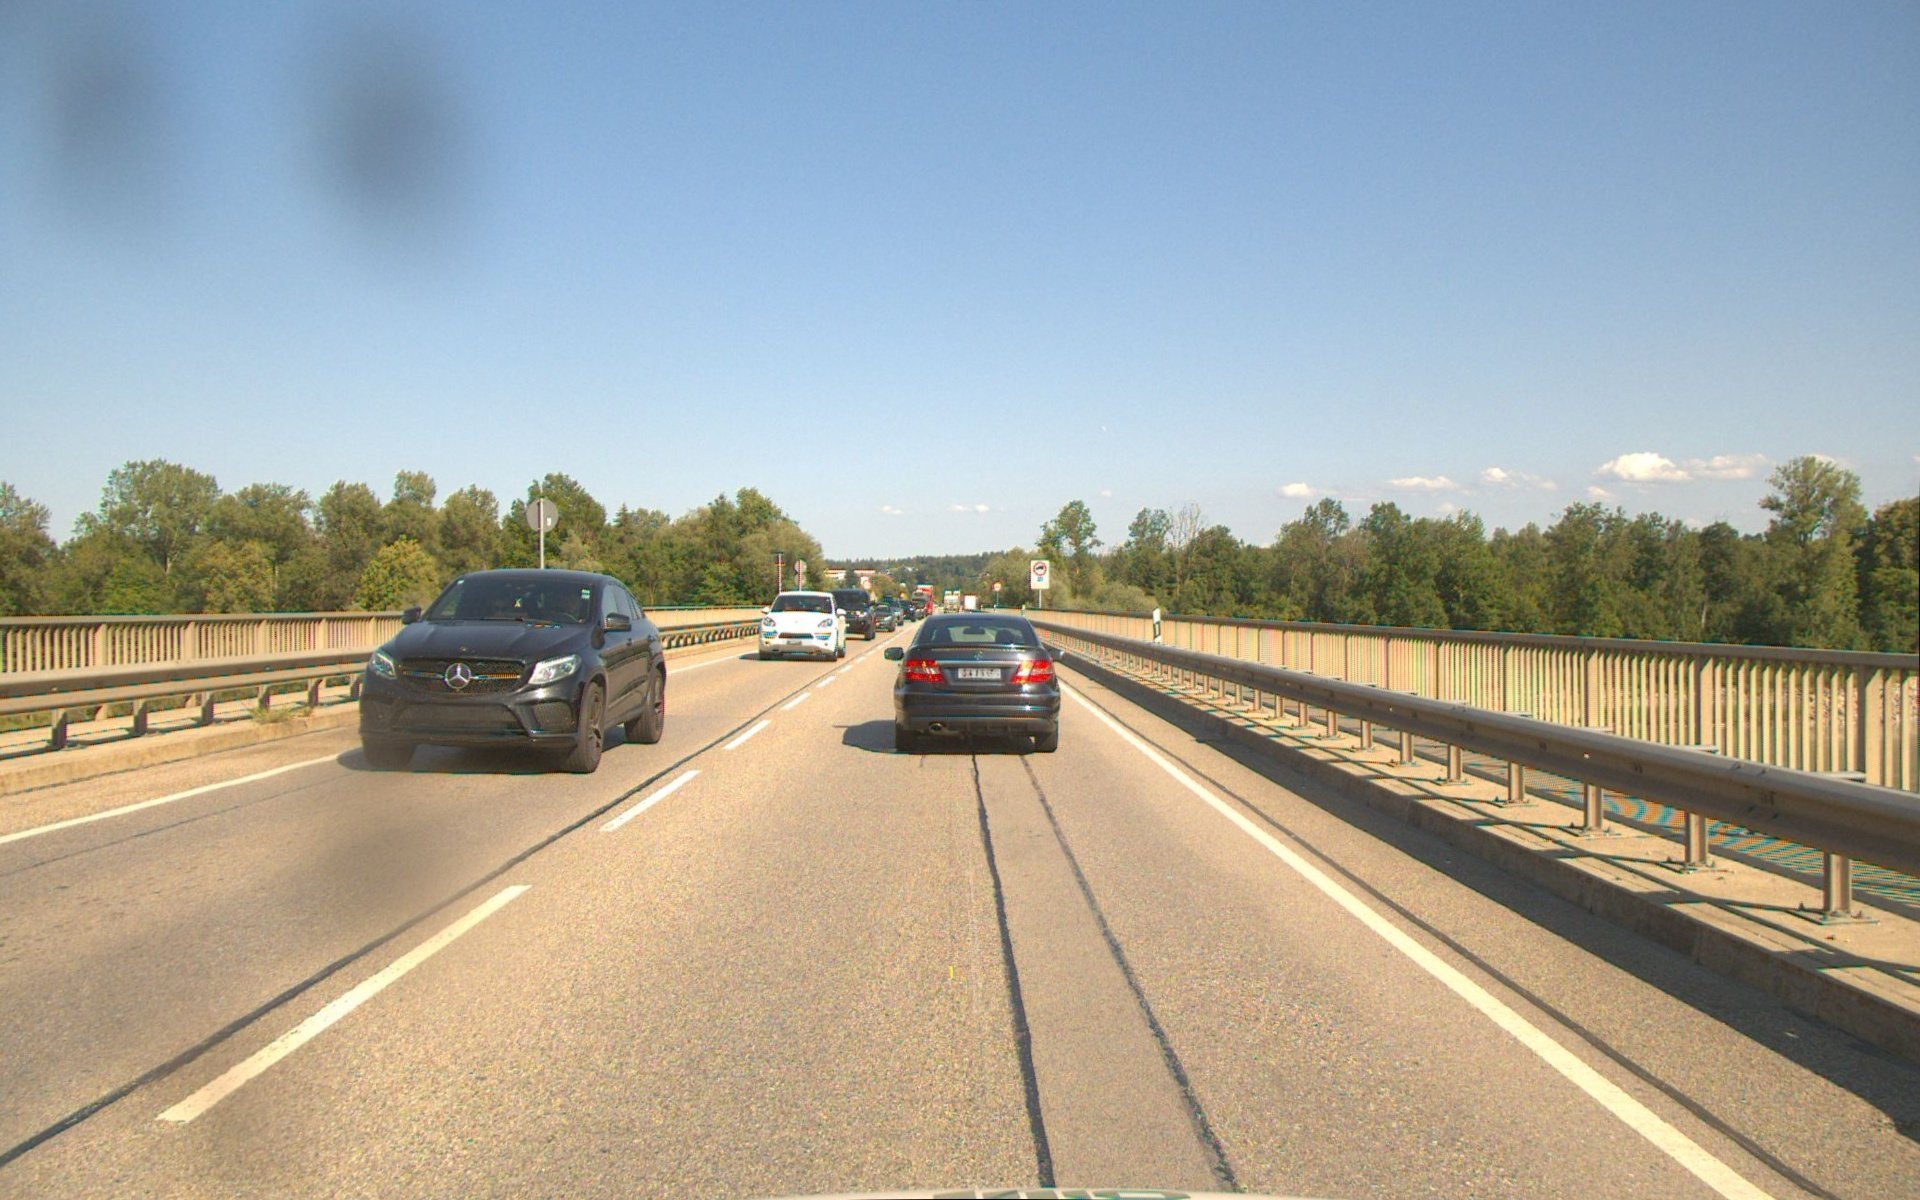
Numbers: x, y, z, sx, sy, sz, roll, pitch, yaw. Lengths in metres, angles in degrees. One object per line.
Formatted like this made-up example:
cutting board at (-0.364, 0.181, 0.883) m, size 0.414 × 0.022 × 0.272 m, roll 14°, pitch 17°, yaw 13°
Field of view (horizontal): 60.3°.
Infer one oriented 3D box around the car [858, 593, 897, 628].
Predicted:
car at (-4.092, 0.494, 81.708) m, size 1.731 × 1.471 × 4.453 m, roll 7°, pitch 0°, yaw -4°

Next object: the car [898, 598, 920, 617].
car at (-4.543, 0.643, 146.271) m, size 1.771 × 1.604 × 4.198 m, roll 3°, pitch 0°, yaw -4°

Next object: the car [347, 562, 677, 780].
car at (-3.972, 0.571, 15.503) m, size 1.909 × 1.723 × 4.476 m, roll 1°, pitch 0°, yaw -1°

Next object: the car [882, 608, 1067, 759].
car at (0.132, 0.811, 17.906) m, size 1.757 × 1.400 × 4.000 m, roll 1°, pitch 0°, yaw 0°

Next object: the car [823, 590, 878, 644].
car at (-4.242, 0.623, 64.274) m, size 1.997 × 1.906 × 5.066 m, roll 2°, pitch 0°, yaw -4°

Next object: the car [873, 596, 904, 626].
car at (-4.510, 0.692, 104.887) m, size 1.817 × 1.752 × 4.564 m, roll 4°, pitch 0°, yaw -2°

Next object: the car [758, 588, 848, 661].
car at (-3.891, 0.571, 41.584) m, size 1.943 × 1.680 × 4.596 m, roll 1°, pitch 1°, yaw -2°

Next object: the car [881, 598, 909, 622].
car at (-5.072, 0.750, 129.384) m, size 2.013 × 1.681 × 4.718 m, roll 2°, pitch 0°, yaw -4°
